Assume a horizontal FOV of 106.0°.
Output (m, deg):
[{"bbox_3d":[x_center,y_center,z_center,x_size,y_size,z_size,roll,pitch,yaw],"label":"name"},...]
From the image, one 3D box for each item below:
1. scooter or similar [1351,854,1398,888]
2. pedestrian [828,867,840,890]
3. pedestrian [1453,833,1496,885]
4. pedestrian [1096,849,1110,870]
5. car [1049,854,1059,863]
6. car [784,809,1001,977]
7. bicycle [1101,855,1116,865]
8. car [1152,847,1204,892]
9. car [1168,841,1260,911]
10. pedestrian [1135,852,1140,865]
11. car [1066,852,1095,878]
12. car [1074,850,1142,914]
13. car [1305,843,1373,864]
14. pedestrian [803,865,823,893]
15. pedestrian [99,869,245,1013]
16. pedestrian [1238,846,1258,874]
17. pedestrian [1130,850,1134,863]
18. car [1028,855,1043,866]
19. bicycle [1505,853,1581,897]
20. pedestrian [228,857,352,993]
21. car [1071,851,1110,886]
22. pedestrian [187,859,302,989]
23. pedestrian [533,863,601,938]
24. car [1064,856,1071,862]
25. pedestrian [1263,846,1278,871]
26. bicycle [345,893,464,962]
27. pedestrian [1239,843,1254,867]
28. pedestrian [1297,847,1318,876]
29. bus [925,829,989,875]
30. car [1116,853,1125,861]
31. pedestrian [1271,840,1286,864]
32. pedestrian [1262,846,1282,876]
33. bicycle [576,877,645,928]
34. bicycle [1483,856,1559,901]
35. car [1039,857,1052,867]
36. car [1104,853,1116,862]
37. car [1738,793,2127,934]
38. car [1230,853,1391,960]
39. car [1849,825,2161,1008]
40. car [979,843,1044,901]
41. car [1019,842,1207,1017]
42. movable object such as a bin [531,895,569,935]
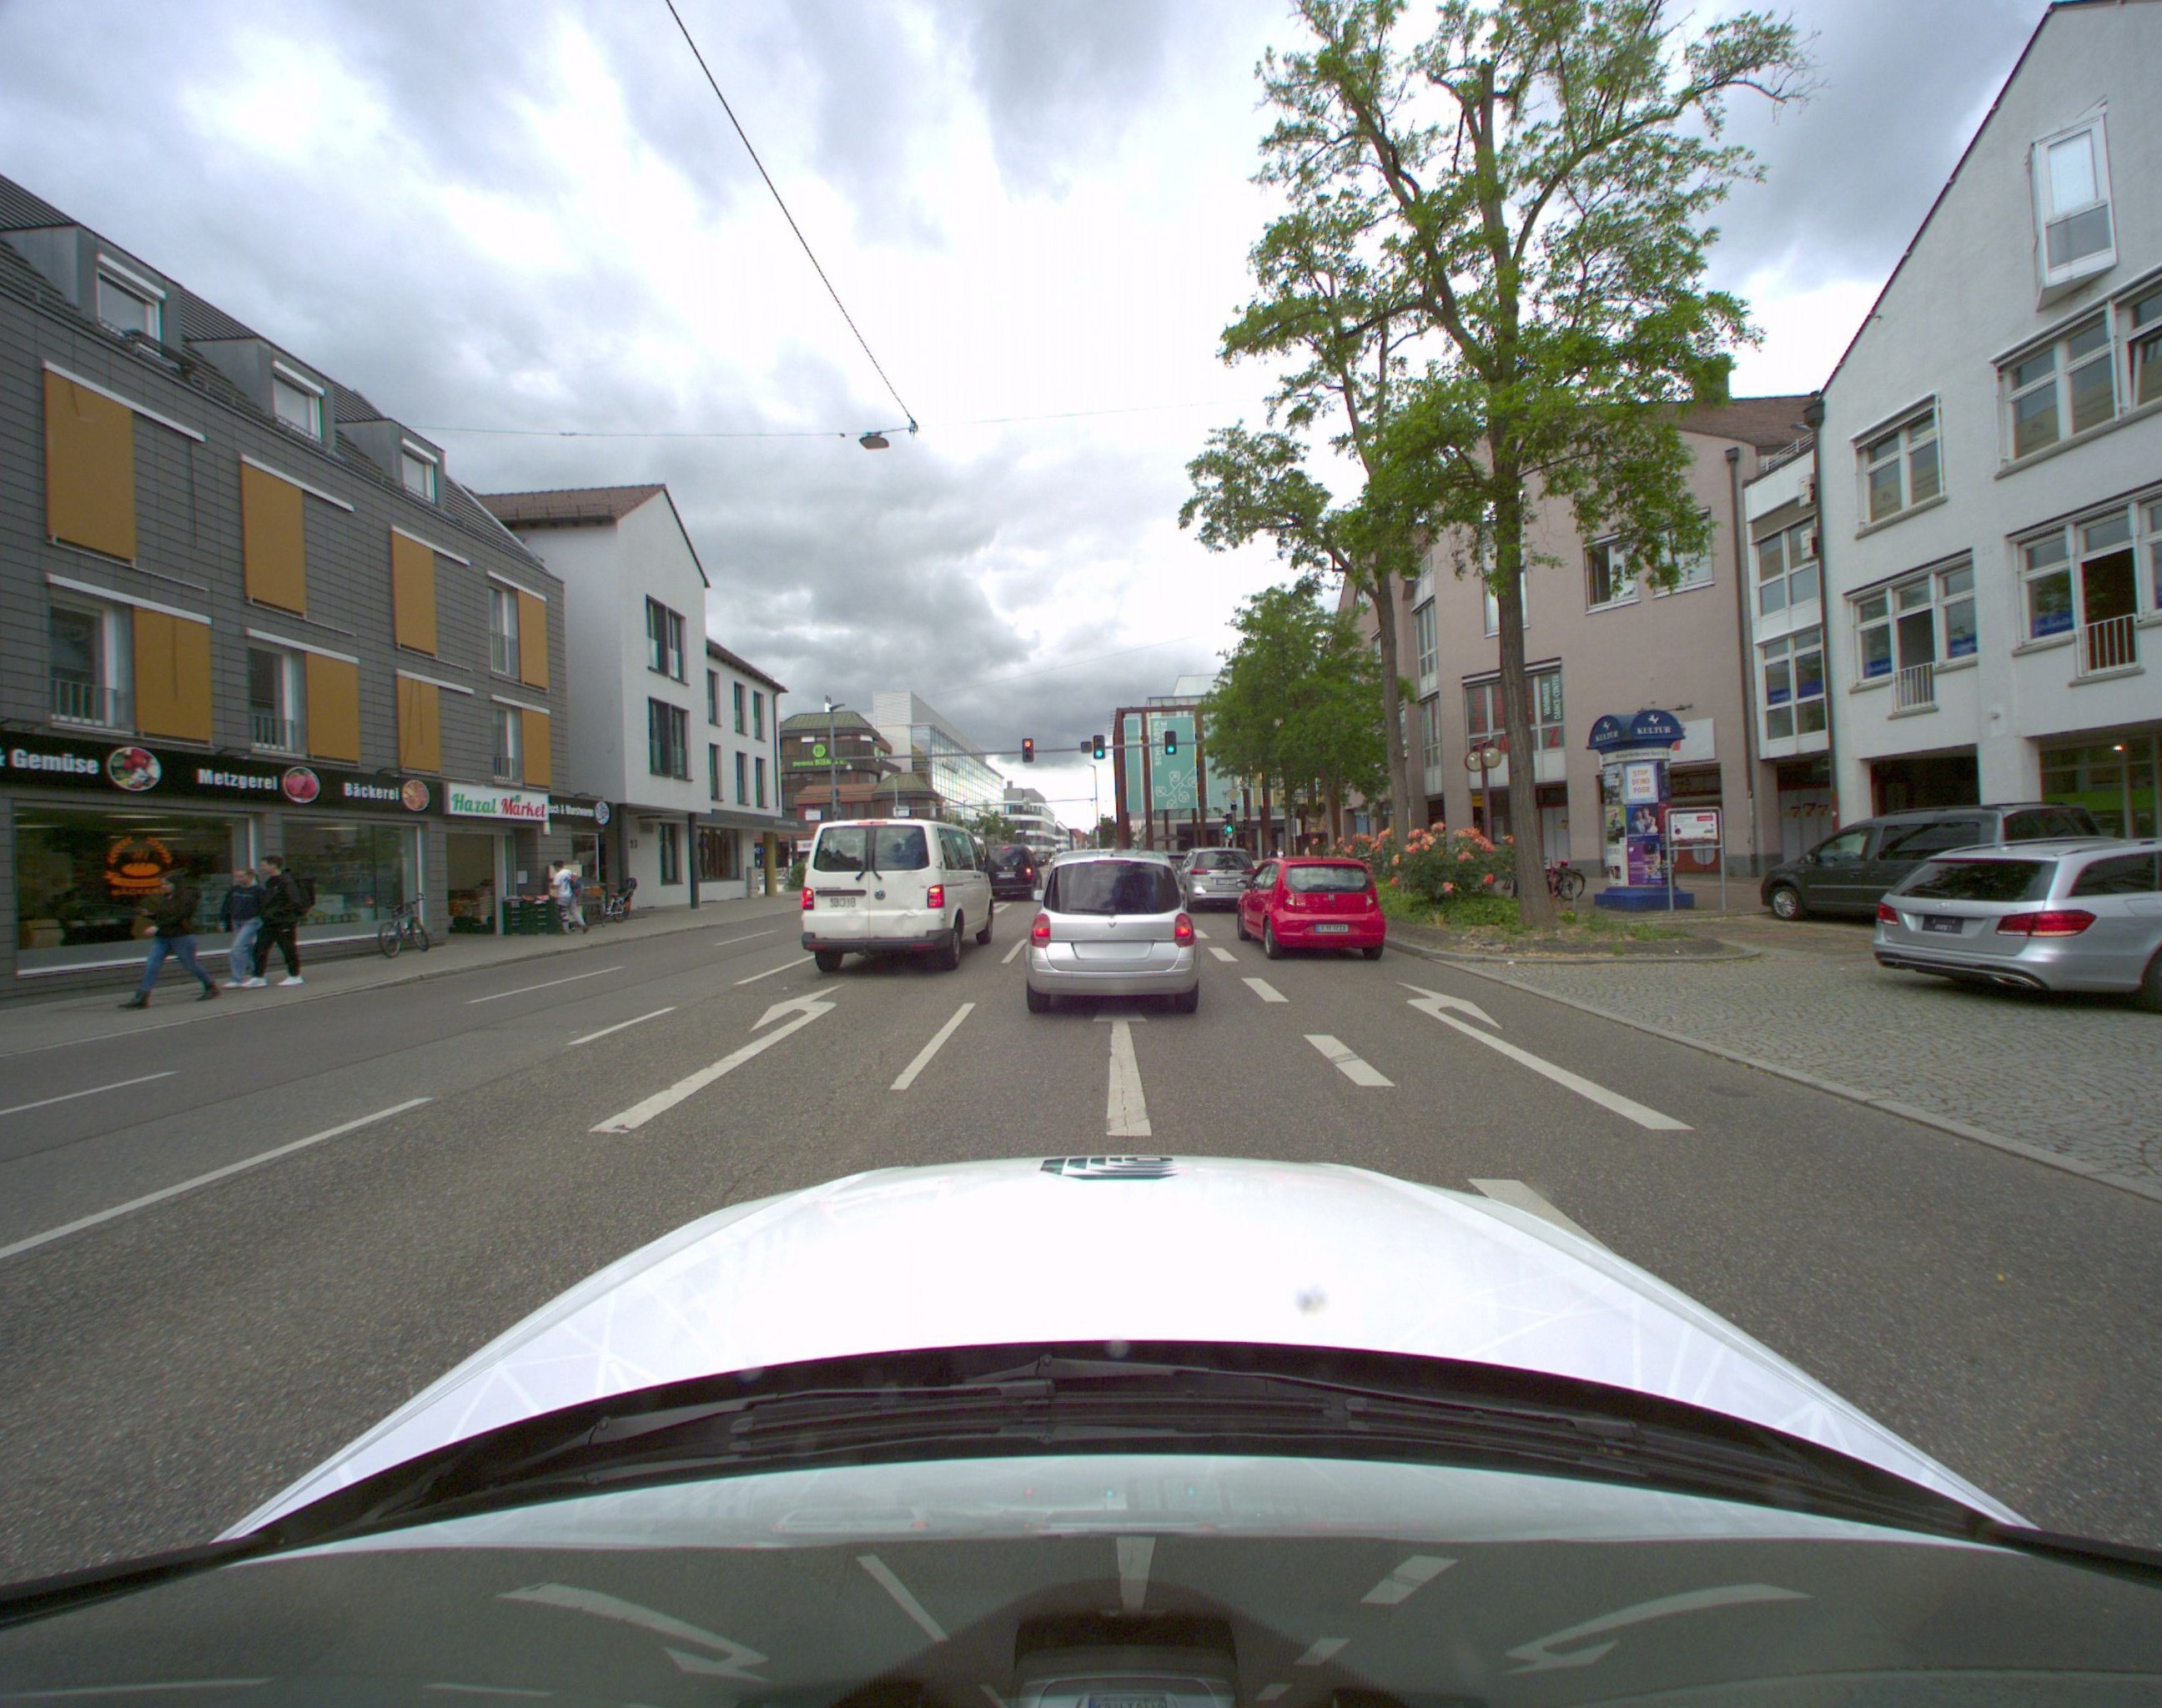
[{"bbox_3d":[9.954,0.582,27.701,0.471,1.087,1.878,-2,-1,-15],"label":"scooter or similar"},{"bbox_3d":[-17.390,1.728,57.324,0.636,1.588,0.526,-2,0,3],"label":"pedestrian"},{"bbox_3d":[12.866,0.160,26.637,0.806,1.626,1.093,-2,0,-1],"label":"pedestrian"},{"bbox_3d":[1.769,0.458,66.382,0.861,1.646,0.685,-2,0,36],"label":"pedestrian"},{"bbox_3d":[-4.977,0.842,150.318,1.654,1.465,4.002,-3,0,2],"label":"car"},{"bbox_3d":[-2.532,0.470,12.297,1.986,2.013,4.842,-1,0,2],"label":"car"},{"bbox_3d":[2.987,0.667,88.175,1.553,0.992,0.753,-2,0,4],"label":"bicycle"},{"bbox_3d":[3.911,0.589,33.317,1.733,1.701,4.382,0,0,2],"label":"car"},{"bbox_3d":[3.490,0.535,22.113,1.734,1.701,4.379,0,0,0],"label":"car"},{"bbox_3d":[5.182,0.408,74.506,0.445,1.220,0.607,-2,0,4],"label":"pedestrian"},{"bbox_3d":[-0.003,0.631,49.479,1.663,1.495,3.643,0,0,2],"label":"car"},{"bbox_3d":[0.722,0.690,21.747,1.663,1.554,3.643,0,0,2],"label":"car"},{"bbox_3d":[18.074,-0.044,57.159,4.161,1.404,1.800,-1,0,-1],"label":"car"},{"bbox_3d":[-17.962,1.663,54.557,0.944,1.755,0.945,-2,0,3],"label":"pedestrian"},{"bbox_3d":[-11.390,1.056,10.241,0.800,1.698,0.871,-2,0,3],"label":"pedestrian"},{"bbox_3d":[10.056,0.353,49.123,0.876,1.681,1.120,-2,0,-1],"label":"pedestrian"},{"bbox_3d":[6.299,0.305,99.901,0.425,1.549,0.481,-2,0,0],"label":"pedestrian"},{"bbox_3d":[-6.330,0.861,113.767,1.738,1.459,4.236,-3,0,1],"label":"car"},{"bbox_3d":[11.402,0.531,20.145,1.549,1.048,0.409,-2,0,43],"label":"bicycle"},{"bbox_3d":[-11.379,0.979,11.749,0.704,1.839,1.029,-2,0,3],"label":"pedestrian"},{"bbox_3d":[0.458,0.624,36.384,1.663,1.495,3.643,0,0,2],"label":"car"},{"bbox_3d":[-12.123,0.982,11.831,0.704,1.781,0.871,-2,0,3],"label":"pedestrian"},{"bbox_3d":[-11.869,1.052,18.828,0.884,1.643,0.972,-2,0,1],"label":"pedestrian"},{"bbox_3d":[-3.332,1.208,202.502,1.654,1.465,4.002,-3,0,2],"label":"car"},{"bbox_3d":[12.725,0.319,54.708,0.739,1.626,0.953,-2,0,-2],"label":"pedestrian"},{"bbox_3d":[-12.637,1.343,15.301,0.569,1.101,1.903,-2,0,2],"label":"bicycle"},{"bbox_3d":[11.278,0.064,55.542,0.739,1.626,0.953,-2,0,-2],"label":"pedestrian"},{"bbox_3d":[14.164,0.475,50.935,0.876,1.767,1.120,-2,0,-1],"label":"pedestrian"},{"bbox_3d":[-10.376,-0.184,69.895,2.976,3.327,12.311,-5,0,2],"label":"bus"},{"bbox_3d":[7.715,0.629,159.653,1.870,1.564,4.002,0,0,2],"label":"car"},{"bbox_3d":[14.030,-0.141,57.839,0.818,1.595,1.039,-2,0,0],"label":"pedestrian"},{"bbox_3d":[11.656,0.399,49.651,0.876,1.767,1.120,-2,0,-1],"label":"pedestrian"},{"bbox_3d":[-12.670,1.279,22.001,0.580,1.232,2.119,-2,0,0],"label":"bicycle"},{"bbox_3d":[10.748,0.594,19.939,1.549,1.048,0.409,-2,0,43],"label":"bicycle"},{"bbox_3d":[-5.667,1.283,129.278,1.654,1.465,4.002,-3,0,2],"label":"car"},{"bbox_3d":[4.681,0.535,132.326,1.870,1.335,4.002,0,0,2],"label":"car"},{"bbox_3d":[13.193,0.127,13.101,1.729,1.804,4.260,-3,0,-1],"label":"car"},{"bbox_3d":[3.449,0.710,12.881,1.620,1.448,3.643,0,0,2],"label":"car"},{"bbox_3d":[10.527,0.470,7.809,4.622,1.453,1.740,-3,0,1],"label":"car"},{"bbox_3d":[-2.308,0.567,28.151,1.701,1.820,4.573,0,0,2],"label":"car"},{"bbox_3d":[0.342,0.673,9.081,1.663,1.554,3.643,0,0,2],"label":"car"},{"bbox_3d":[-12.643,1.445,19.391,0.549,0.899,0.507,-2,0,0],"label":"movable object such as a bin"}]
